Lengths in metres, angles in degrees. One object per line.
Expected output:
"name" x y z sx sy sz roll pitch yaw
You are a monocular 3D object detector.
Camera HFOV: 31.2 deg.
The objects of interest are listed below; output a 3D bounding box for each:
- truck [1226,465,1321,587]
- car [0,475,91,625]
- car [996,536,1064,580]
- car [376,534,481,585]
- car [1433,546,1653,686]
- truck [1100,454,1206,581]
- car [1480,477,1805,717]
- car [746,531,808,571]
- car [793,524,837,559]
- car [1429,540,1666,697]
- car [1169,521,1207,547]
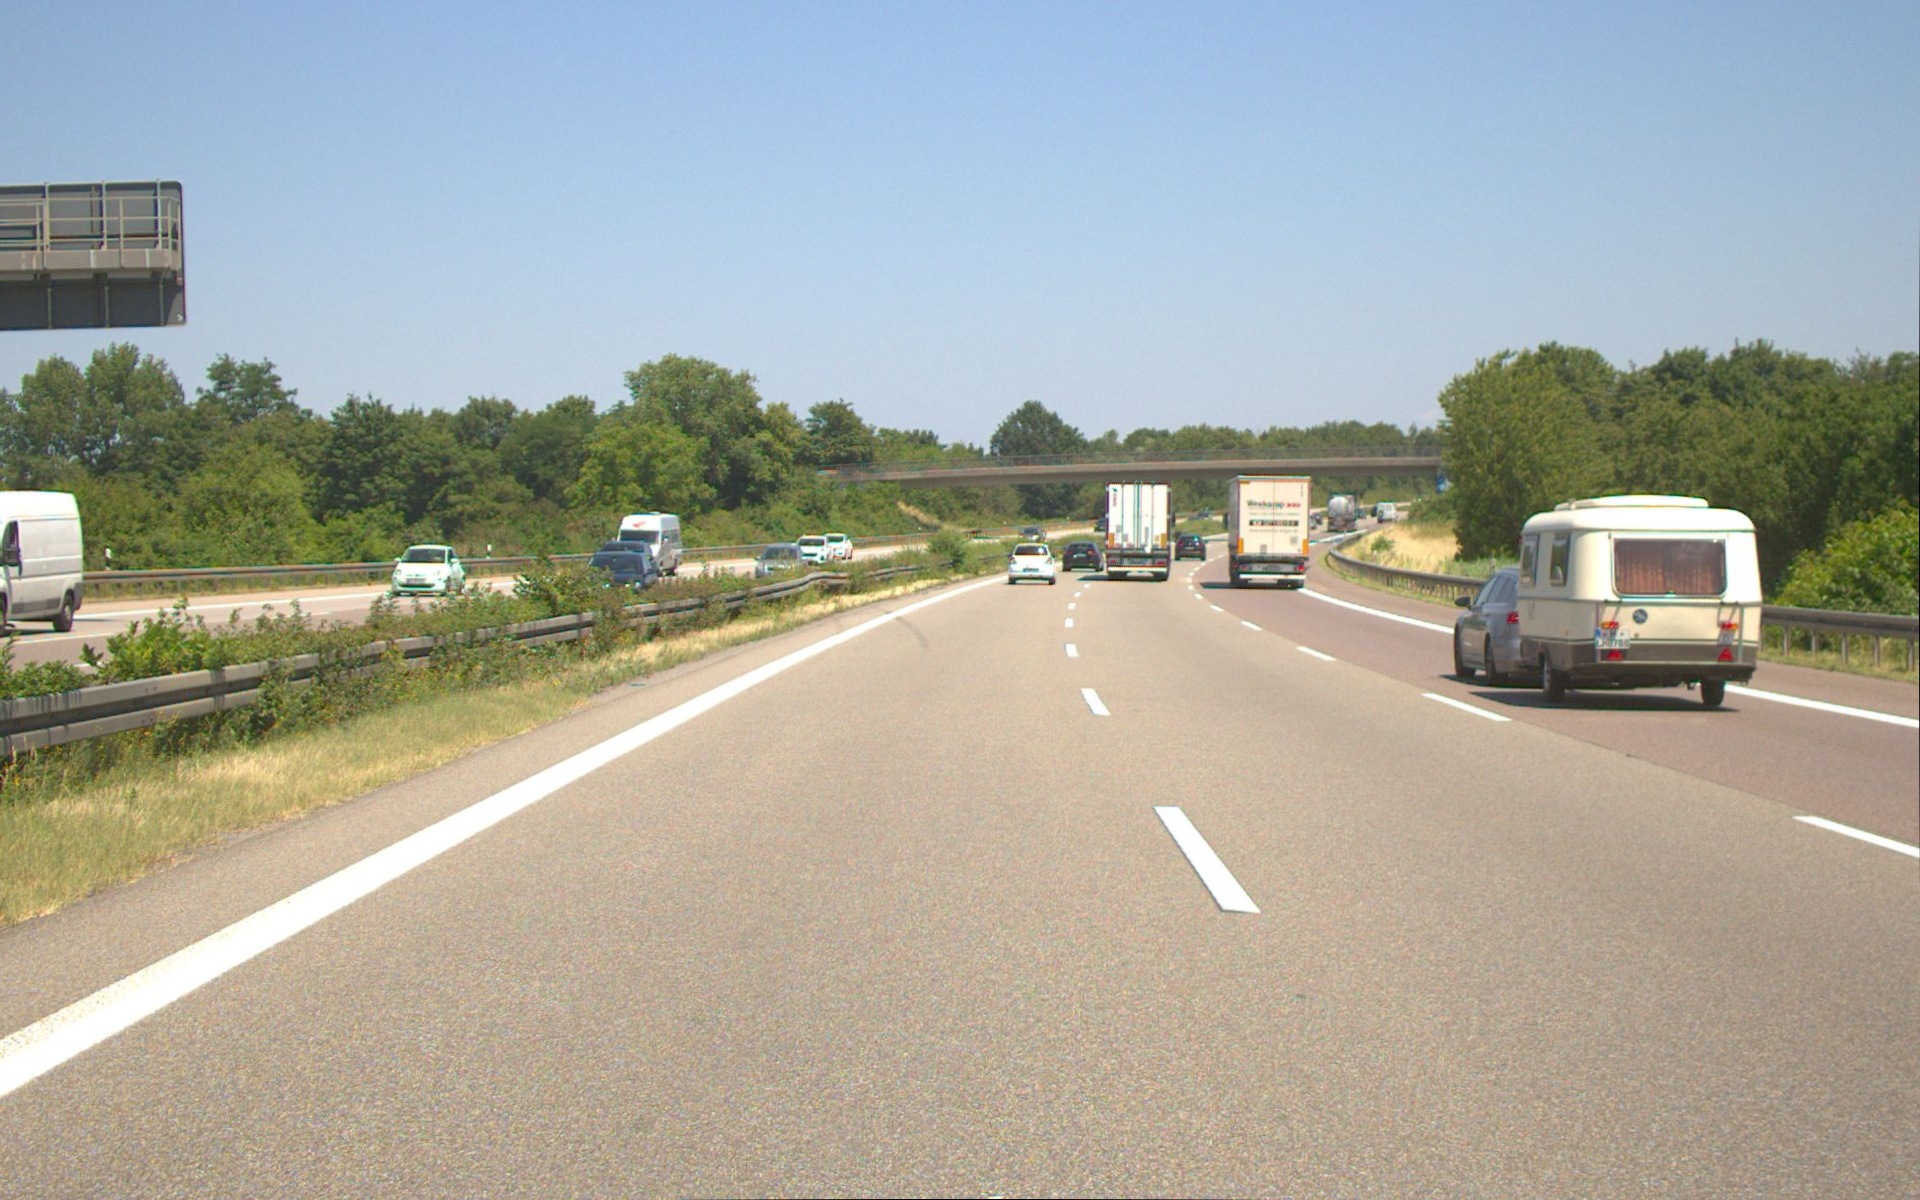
"truck" 11.902 -2.899 129.470 3.182 4.289 16.015 1 2 6
"car" -16.865 -0.875 59.351 2.131 2.469 6.334 0 1 0
"car" 2.604 -1.563 127.550 1.829 1.541 4.317 1 2 10
"car" -15.572 -1.186 100.949 1.994 1.453 4.087 0 1 7
"car" 7.138 0.149 42.622 1.887 1.510 5.380 1 2 1
"truck" 8.215 -3.549 144.302 3.667 5.001 16.015 1 2 6
"car" 7.177 -0.122 36.764 2.442 2.313 5.322 -1 2 1
"car" -6.683 -1.794 125.749 1.747 1.461 4.249 0 1 4
"car" -7.203 -2.911 171.148 1.788 1.675 4.901 0 1 2
"car" 7.145 0.164 42.364 2.045 1.652 5.511 0 2 1
"car" 14.034 -4.061 211.364 1.829 1.541 4.317 1 2 10
